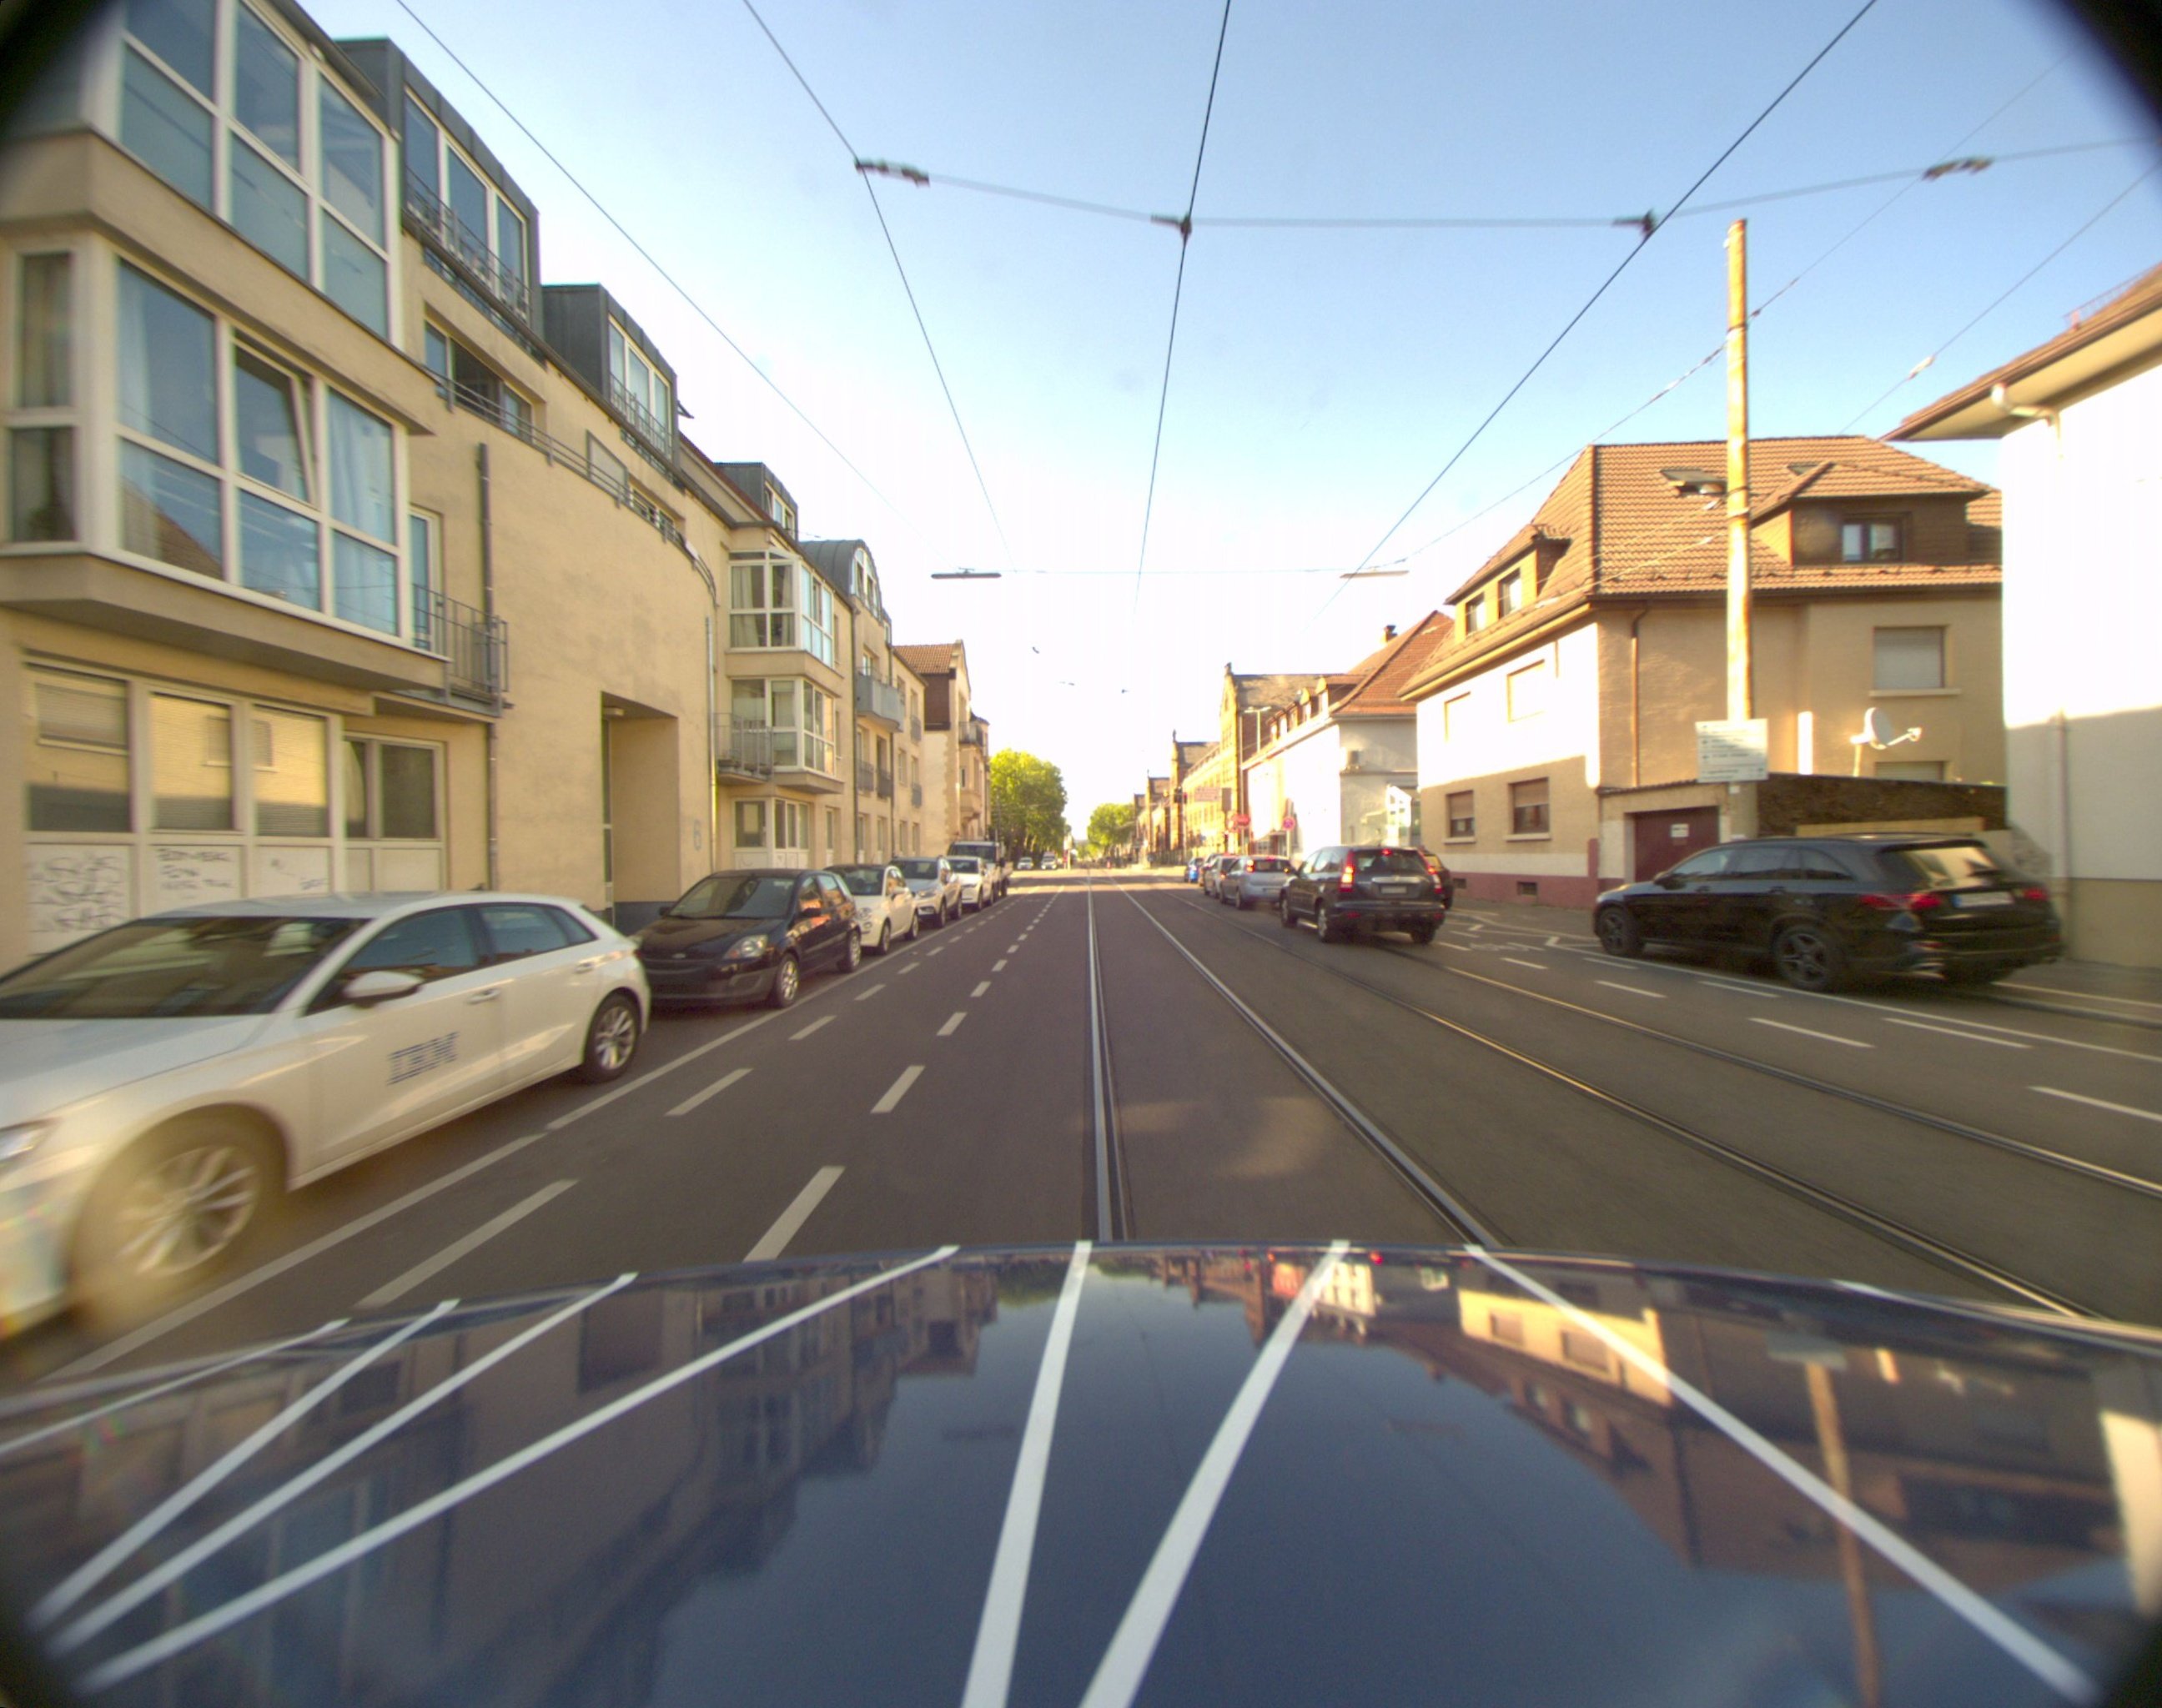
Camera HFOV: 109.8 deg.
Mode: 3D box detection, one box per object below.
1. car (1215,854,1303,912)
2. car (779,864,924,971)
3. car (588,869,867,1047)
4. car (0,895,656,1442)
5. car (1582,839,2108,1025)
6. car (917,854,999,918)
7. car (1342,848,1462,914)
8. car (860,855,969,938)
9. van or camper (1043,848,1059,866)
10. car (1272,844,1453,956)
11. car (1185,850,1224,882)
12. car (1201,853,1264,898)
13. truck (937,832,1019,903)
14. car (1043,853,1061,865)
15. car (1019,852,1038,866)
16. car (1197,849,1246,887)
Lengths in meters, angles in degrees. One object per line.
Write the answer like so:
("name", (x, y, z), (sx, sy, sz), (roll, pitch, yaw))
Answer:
("car", (4.977, 0.752, 21.755), (1.621, 1.452, 4.075), (0, 1, 1))
("car", (-3.927, 1.016, 13.530), (1.500, 1.548, 3.364), (-3, 0, 0))
("car", (-3.881, 1.030, 9.066), (1.558, 1.548, 3.652), (-3, 0, 0))
("car", (-4.204, 1.103, 3.861), (1.681, 1.482, 4.172), (-3, 0, 0))
("car", (8.492, 0.700, 9.232), (1.766, 1.695, 4.555), (0, 1, 0))
("car", (-3.712, 0.913, 23.690), (1.743, 1.736, 4.255), (-3, 0, 1))
("car", (8.709, 0.660, 20.953), (1.619, 1.618, 3.921), (0, 1, 0))
("car", (-3.867, 0.920, 18.267), (1.606, 1.690, 3.989), (-3, 0, 1))
("van or camper", (-4.138, 0.475, 106.603), (1.998, 2.346, 5.600), (-1, -1, 0))
("car", (4.833, 0.690, 13.766), (1.708, 1.695, 4.363), (0, 1, 1))
("car", (6.568, 0.605, 40.828), (1.687, 1.558, 3.929), (1, 0, 4))
("car", (5.276, 0.718, 26.855), (1.586, 1.452, 3.613), (0, 1, 2))
("truck", (-3.895, 0.465, 29.984), (2.301, 2.463, 6.146), (-1, 0, 1))
("car", (-3.643, 0.658, 96.542), (1.984, 1.539, 4.035), (-1, -1, 1))
("car", (-6.524, 0.597, 94.829), (1.911, 1.608, 4.572), (-2, -1, 0))
("car", (6.267, 0.577, 34.351), (1.742, 1.602, 4.716), (0, 1, 5))
